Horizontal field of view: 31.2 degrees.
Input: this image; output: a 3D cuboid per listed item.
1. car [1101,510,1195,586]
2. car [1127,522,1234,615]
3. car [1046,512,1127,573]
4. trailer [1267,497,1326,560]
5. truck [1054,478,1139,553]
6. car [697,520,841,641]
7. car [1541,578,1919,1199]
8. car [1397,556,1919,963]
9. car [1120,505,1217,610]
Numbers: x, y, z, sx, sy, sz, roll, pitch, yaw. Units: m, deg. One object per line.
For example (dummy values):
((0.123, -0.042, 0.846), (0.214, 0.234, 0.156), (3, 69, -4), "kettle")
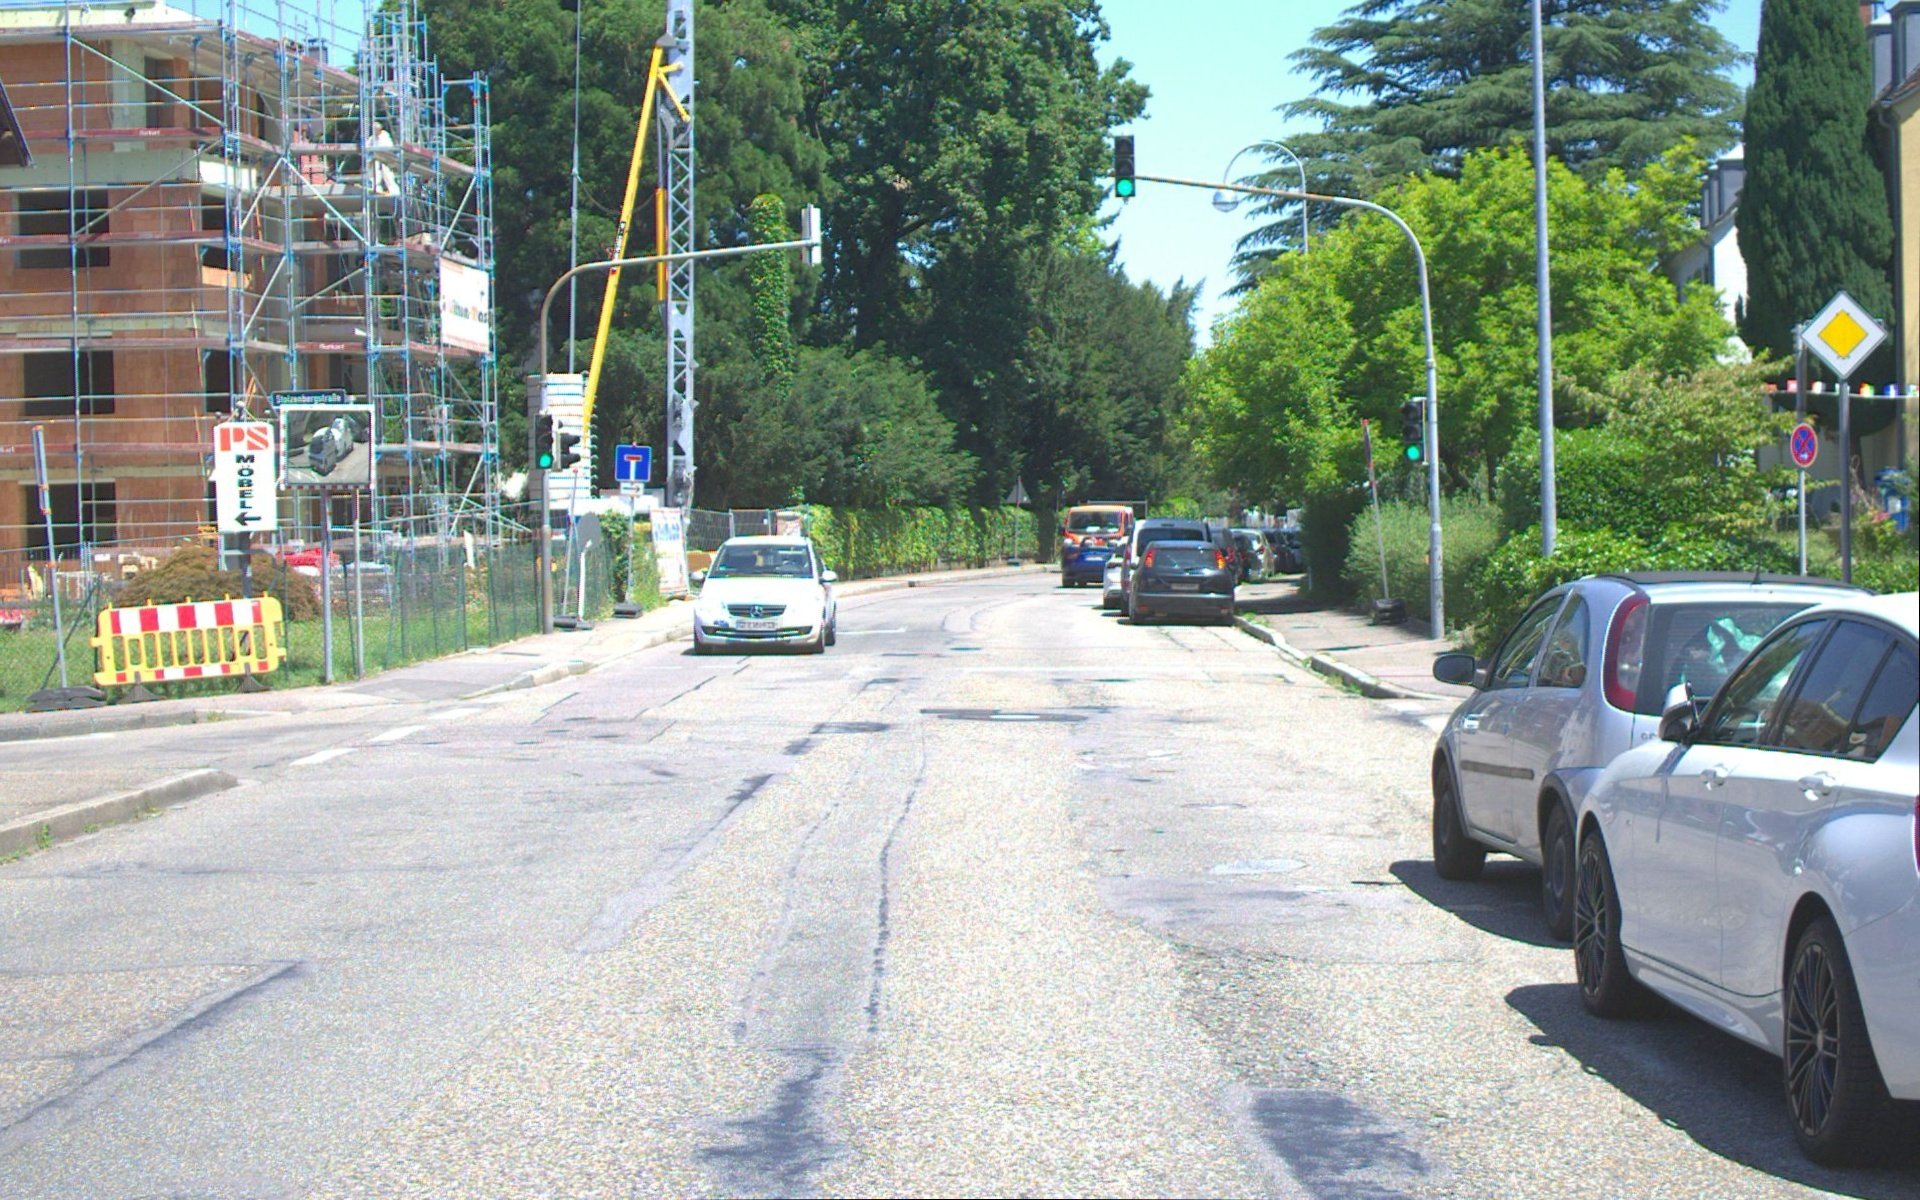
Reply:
((3.792, -1.060, 68.828), (1.662, 1.430, 4.128), (1, 1, 6), "car")
((3.734, -0.572, 58.734), (1.629, 1.458, 4.016), (2, 2, 2), "car")
((3.285, -1.489, 88.559), (1.794, 1.505, 3.999), (1, 1, 6), "car")
((11.574, -2.484, 118.174), (1.680, 2.060, 3.707), (1, 2, 10), "trailer")
((4.497, -2.777, 112.045), (2.128, 2.331, 6.433), (-1, 2, 8), "truck")
((-2.617, -0.299, 47.821), (1.652, 1.556, 3.885), (-2, 1, 1), "car")
((2.867, 0.694, 9.674), (1.666, 1.430, 4.000), (1, 1, -1), "car")
((3.045, 0.572, 14.811), (1.666, 1.460, 4.001), (1, 1, -2), "car")
((3.861, -0.812, 63.410), (1.662, 1.797, 4.202), (2, 2, 4), "car")
